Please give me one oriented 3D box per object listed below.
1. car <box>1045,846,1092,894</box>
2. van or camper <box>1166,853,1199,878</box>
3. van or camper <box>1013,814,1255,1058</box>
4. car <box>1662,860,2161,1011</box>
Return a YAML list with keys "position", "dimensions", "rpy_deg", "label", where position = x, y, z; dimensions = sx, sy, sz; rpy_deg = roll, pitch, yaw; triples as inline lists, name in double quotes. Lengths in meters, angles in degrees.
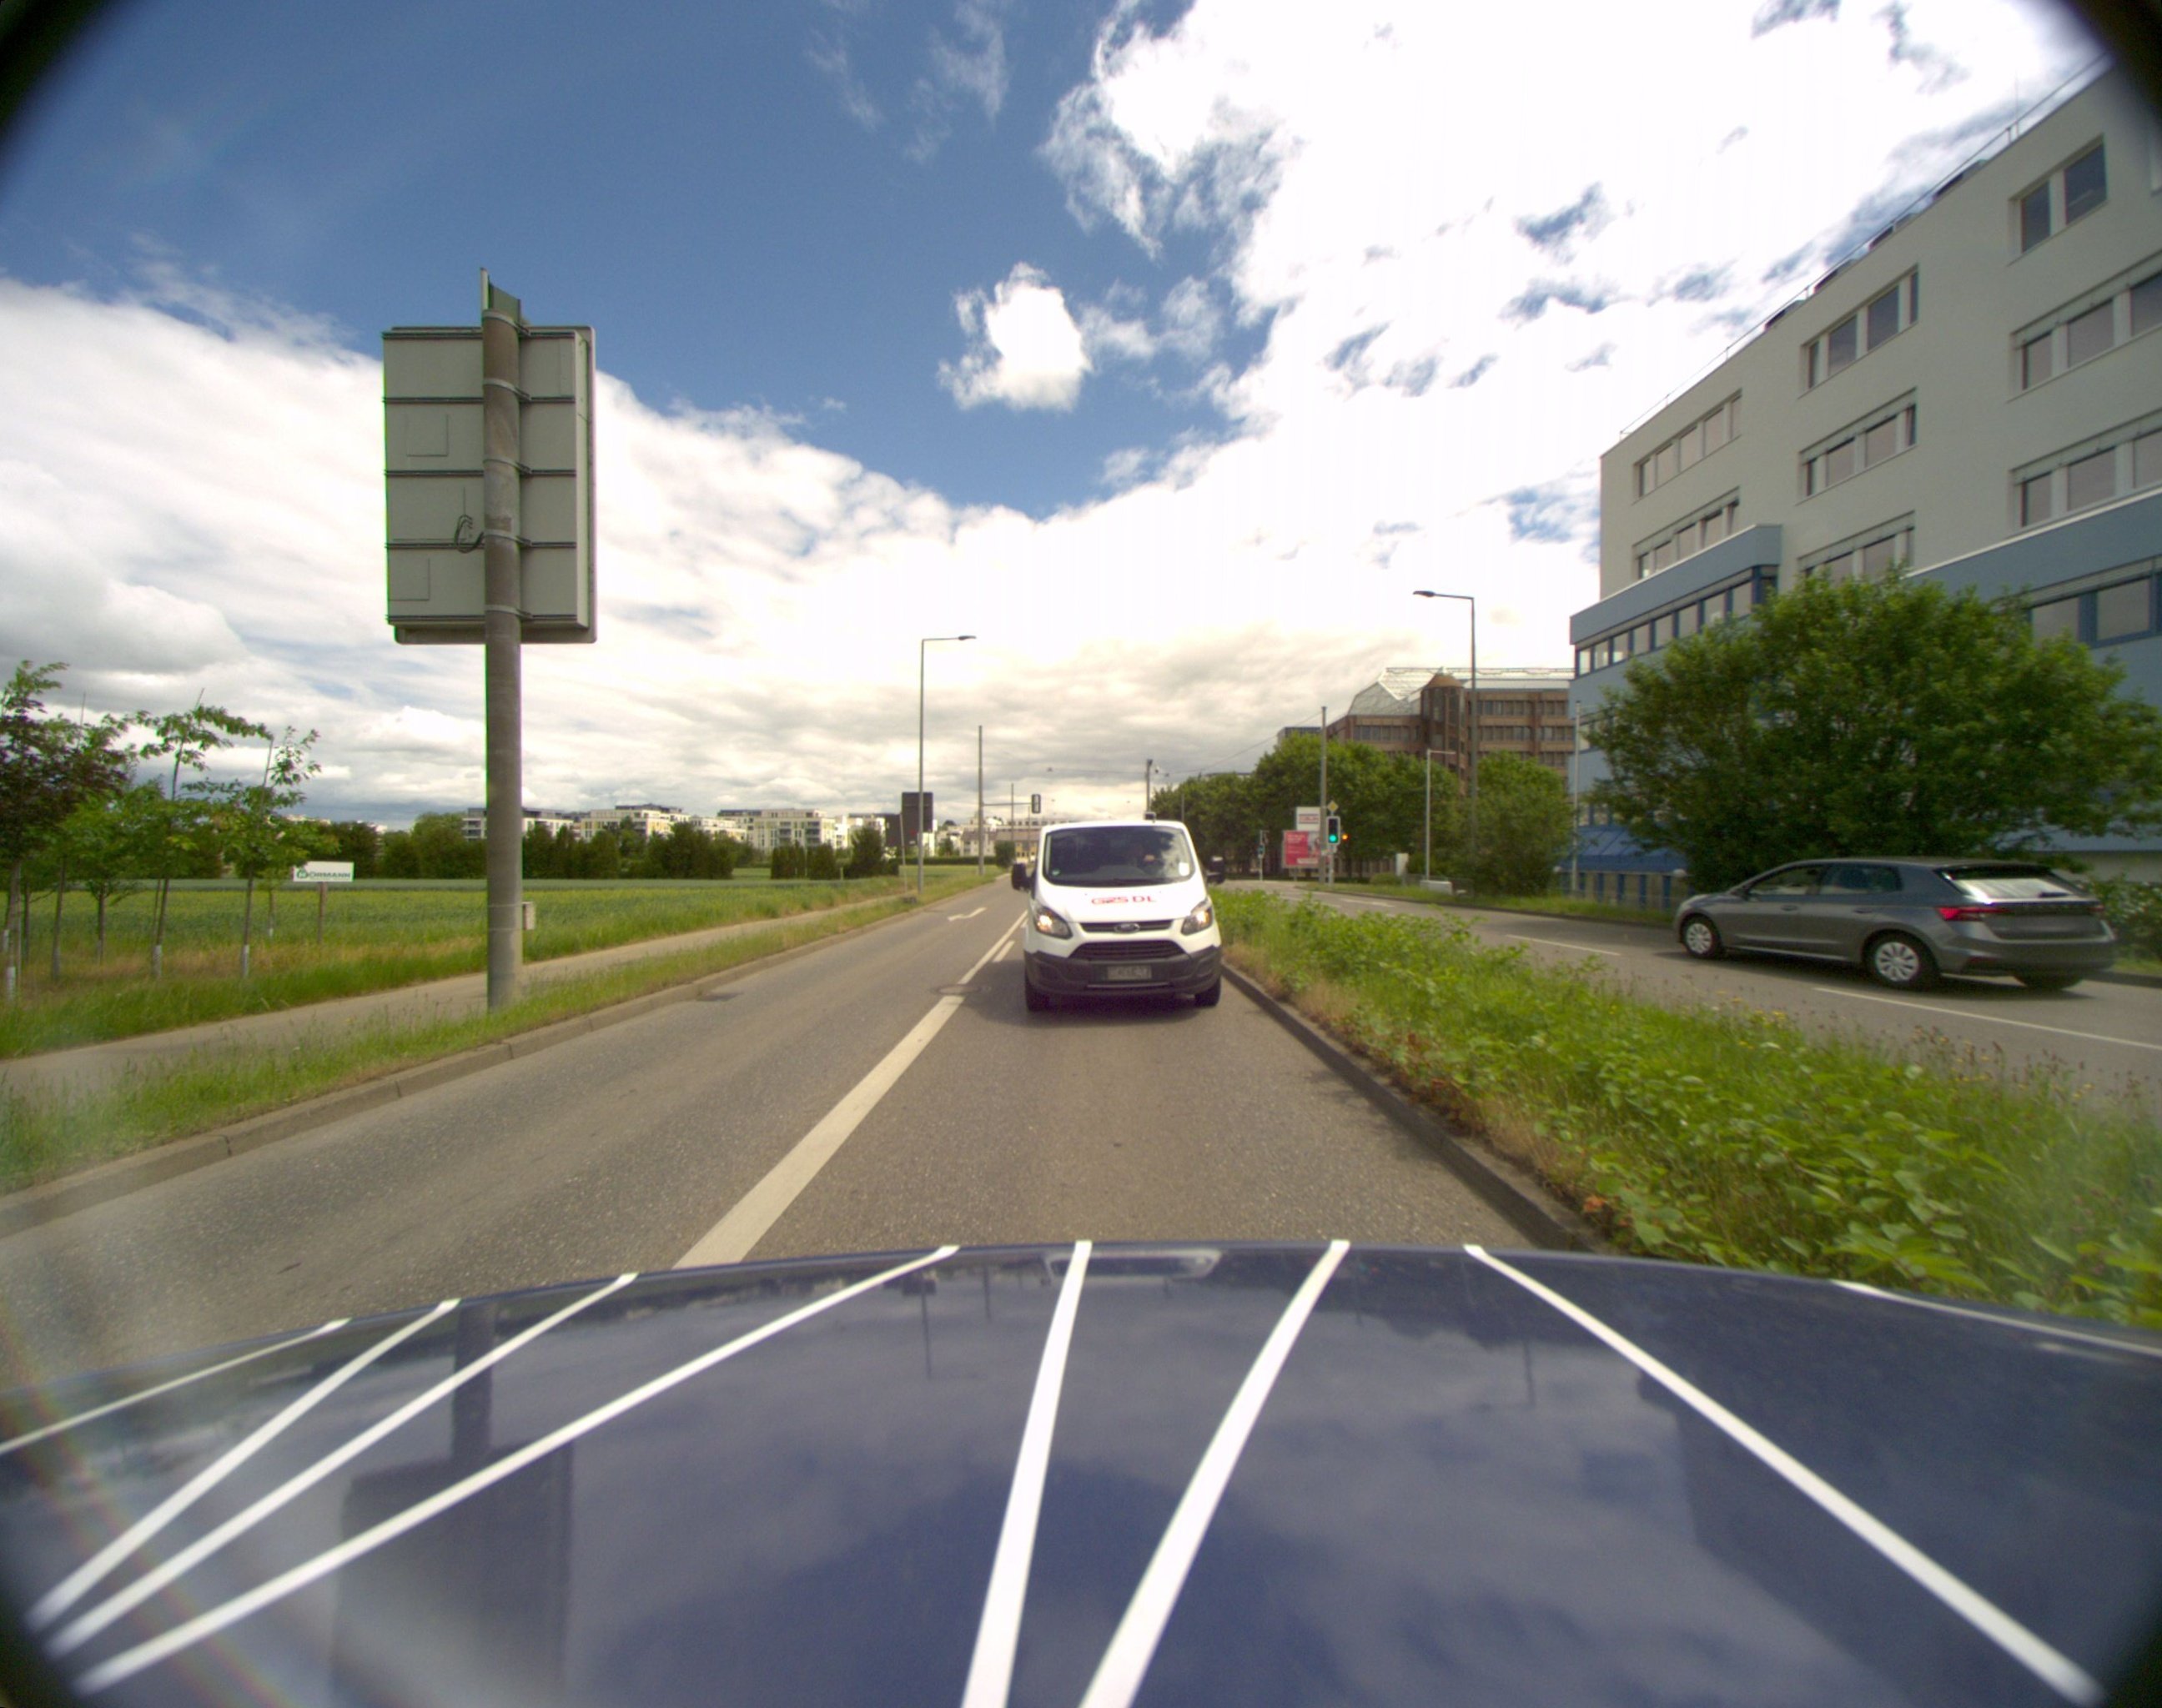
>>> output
- position: [-0.514, 0.682, 34.535]
  dimensions: [1.998, 2.002, 4.000]
  rpy_deg: [0, 0, 1]
  label: "car"
- position: [8.514, 0.909, 64.048]
  dimensions: [1.999, 2.002, 4.814]
  rpy_deg: [0, 0, -2]
  label: "van or camper"
- position: [0.342, 0.678, 9.164]
  dimensions: [1.999, 2.002, 5.798]
  rpy_deg: [0, 0, -2]
  label: "van or camper"
- position: [9.610, 0.803, 9.310]
  dimensions: [1.937, 1.390, 4.000]
  rpy_deg: [-1, 0, 0]
  label: "car"
